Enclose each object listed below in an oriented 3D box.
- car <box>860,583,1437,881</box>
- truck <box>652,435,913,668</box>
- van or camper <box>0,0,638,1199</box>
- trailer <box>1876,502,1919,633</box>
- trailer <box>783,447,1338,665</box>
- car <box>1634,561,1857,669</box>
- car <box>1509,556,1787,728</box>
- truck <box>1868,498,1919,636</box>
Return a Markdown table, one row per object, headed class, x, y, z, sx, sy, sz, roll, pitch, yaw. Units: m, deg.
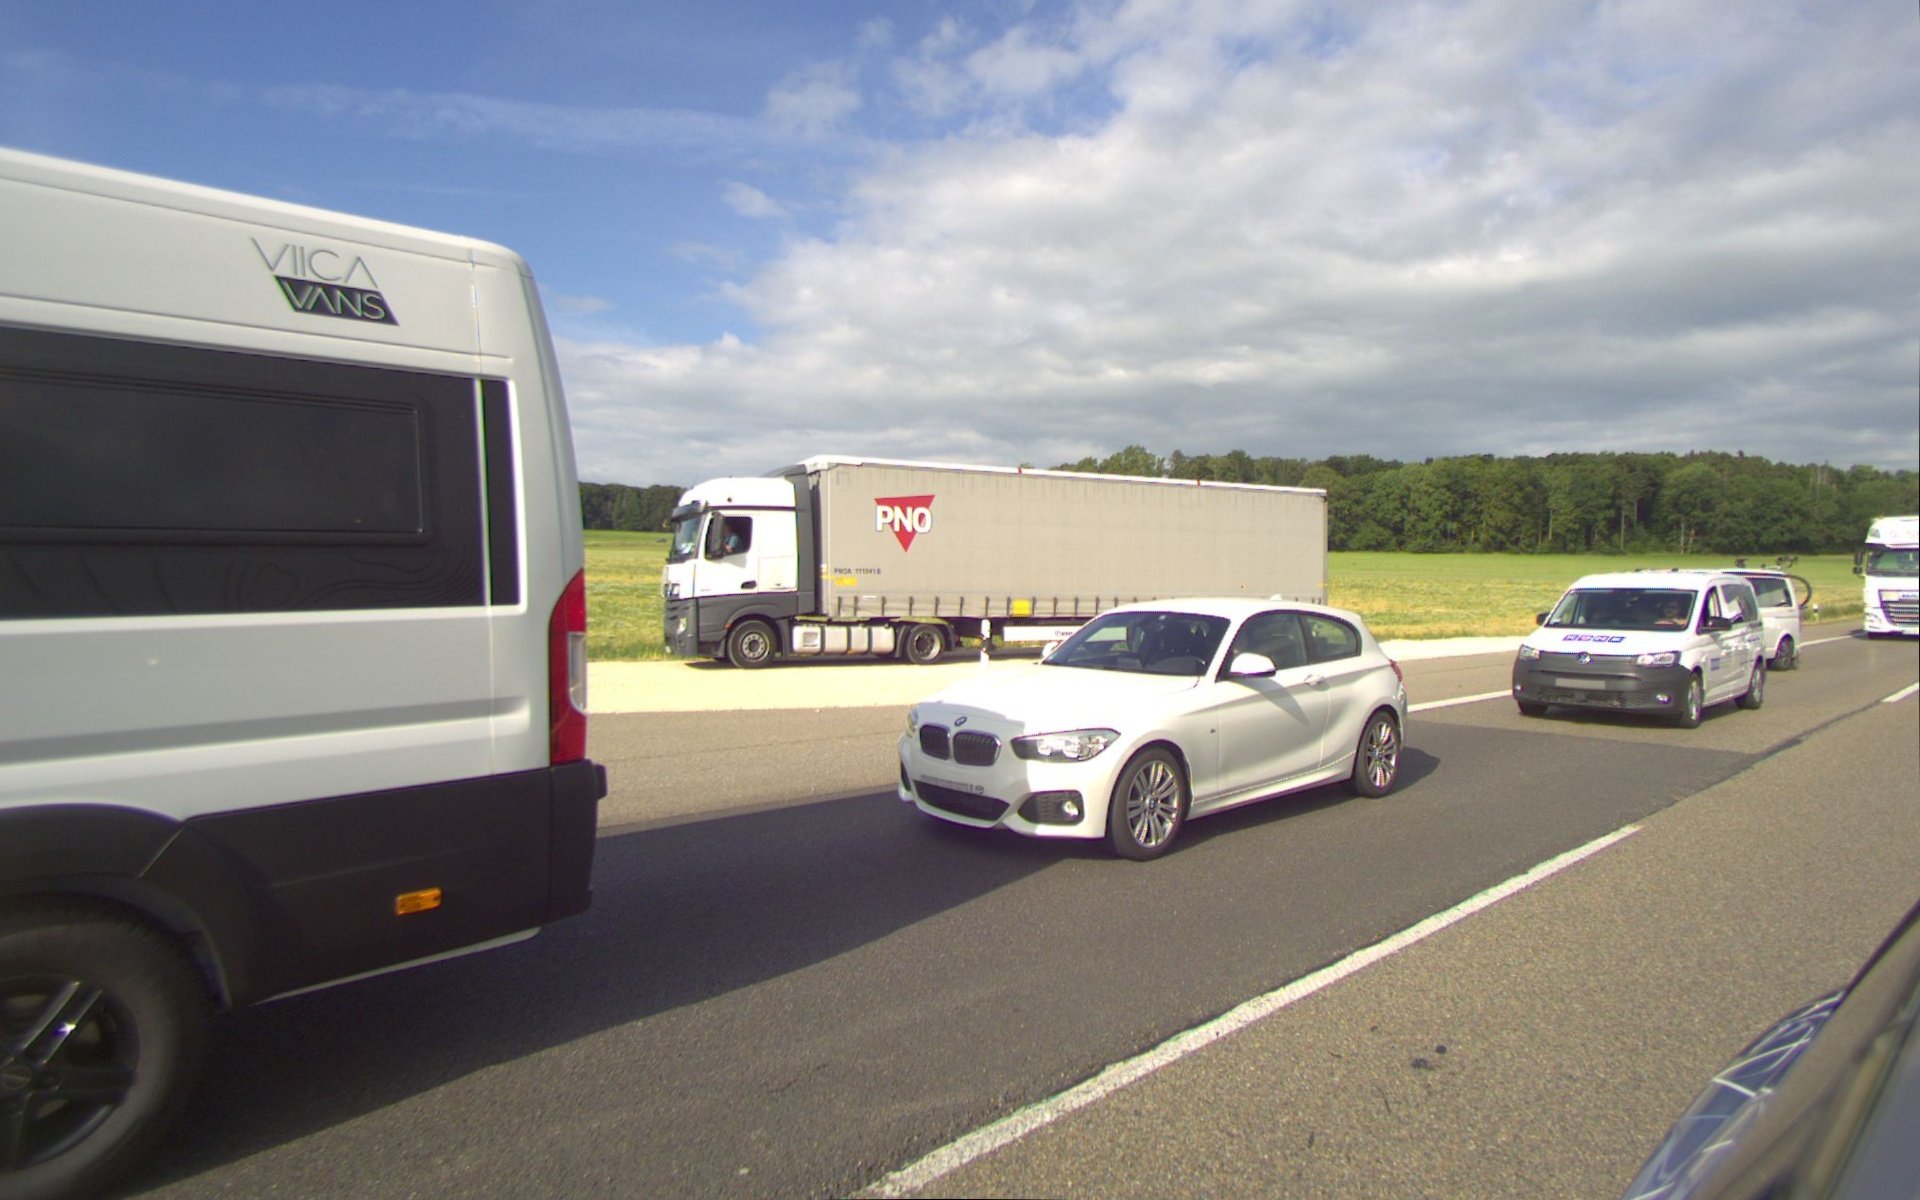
| class | x | y | z | sx | sy | sz | roll | pitch | yaw |
| --- | --- | --- | --- | --- | --- | --- | --- | --- | --- |
| car | 1.498 | 0.625 | 6.957 | 4.158 | 1.450 | 1.706 | 0 | 0 | -41 |
| truck | -3.644 | -0.886 | 20.621 | 4.662 | 4.226 | 2.727 | 0 | 0 | -26 |
| van or camper | -4.054 | 0.008 | 1.911 | 6.222 | 2.714 | 2.219 | 0 | 1 | -41 |
| trailer | 36.135 | -1.173 | 36.729 | 13.777 | 4.212 | 2.739 | -1 | 1 | -41 |
| trailer | 2.828 | -0.864 | 23.778 | 13.543 | 4.213 | 2.748 | 0 | 0 | -26 |
| car | 15.834 | 0.253 | 20.312 | 5.163 | 1.949 | 1.802 | 0 | 0 | -31 |
| car | 8.717 | 0.417 | 12.646 | 4.620 | 1.779 | 1.727 | 0 | 0 | -41 |
| truck | 31.718 | -1.072 | 32.819 | 5.667 | 4.226 | 2.733 | -1 | 1 | -41 |
